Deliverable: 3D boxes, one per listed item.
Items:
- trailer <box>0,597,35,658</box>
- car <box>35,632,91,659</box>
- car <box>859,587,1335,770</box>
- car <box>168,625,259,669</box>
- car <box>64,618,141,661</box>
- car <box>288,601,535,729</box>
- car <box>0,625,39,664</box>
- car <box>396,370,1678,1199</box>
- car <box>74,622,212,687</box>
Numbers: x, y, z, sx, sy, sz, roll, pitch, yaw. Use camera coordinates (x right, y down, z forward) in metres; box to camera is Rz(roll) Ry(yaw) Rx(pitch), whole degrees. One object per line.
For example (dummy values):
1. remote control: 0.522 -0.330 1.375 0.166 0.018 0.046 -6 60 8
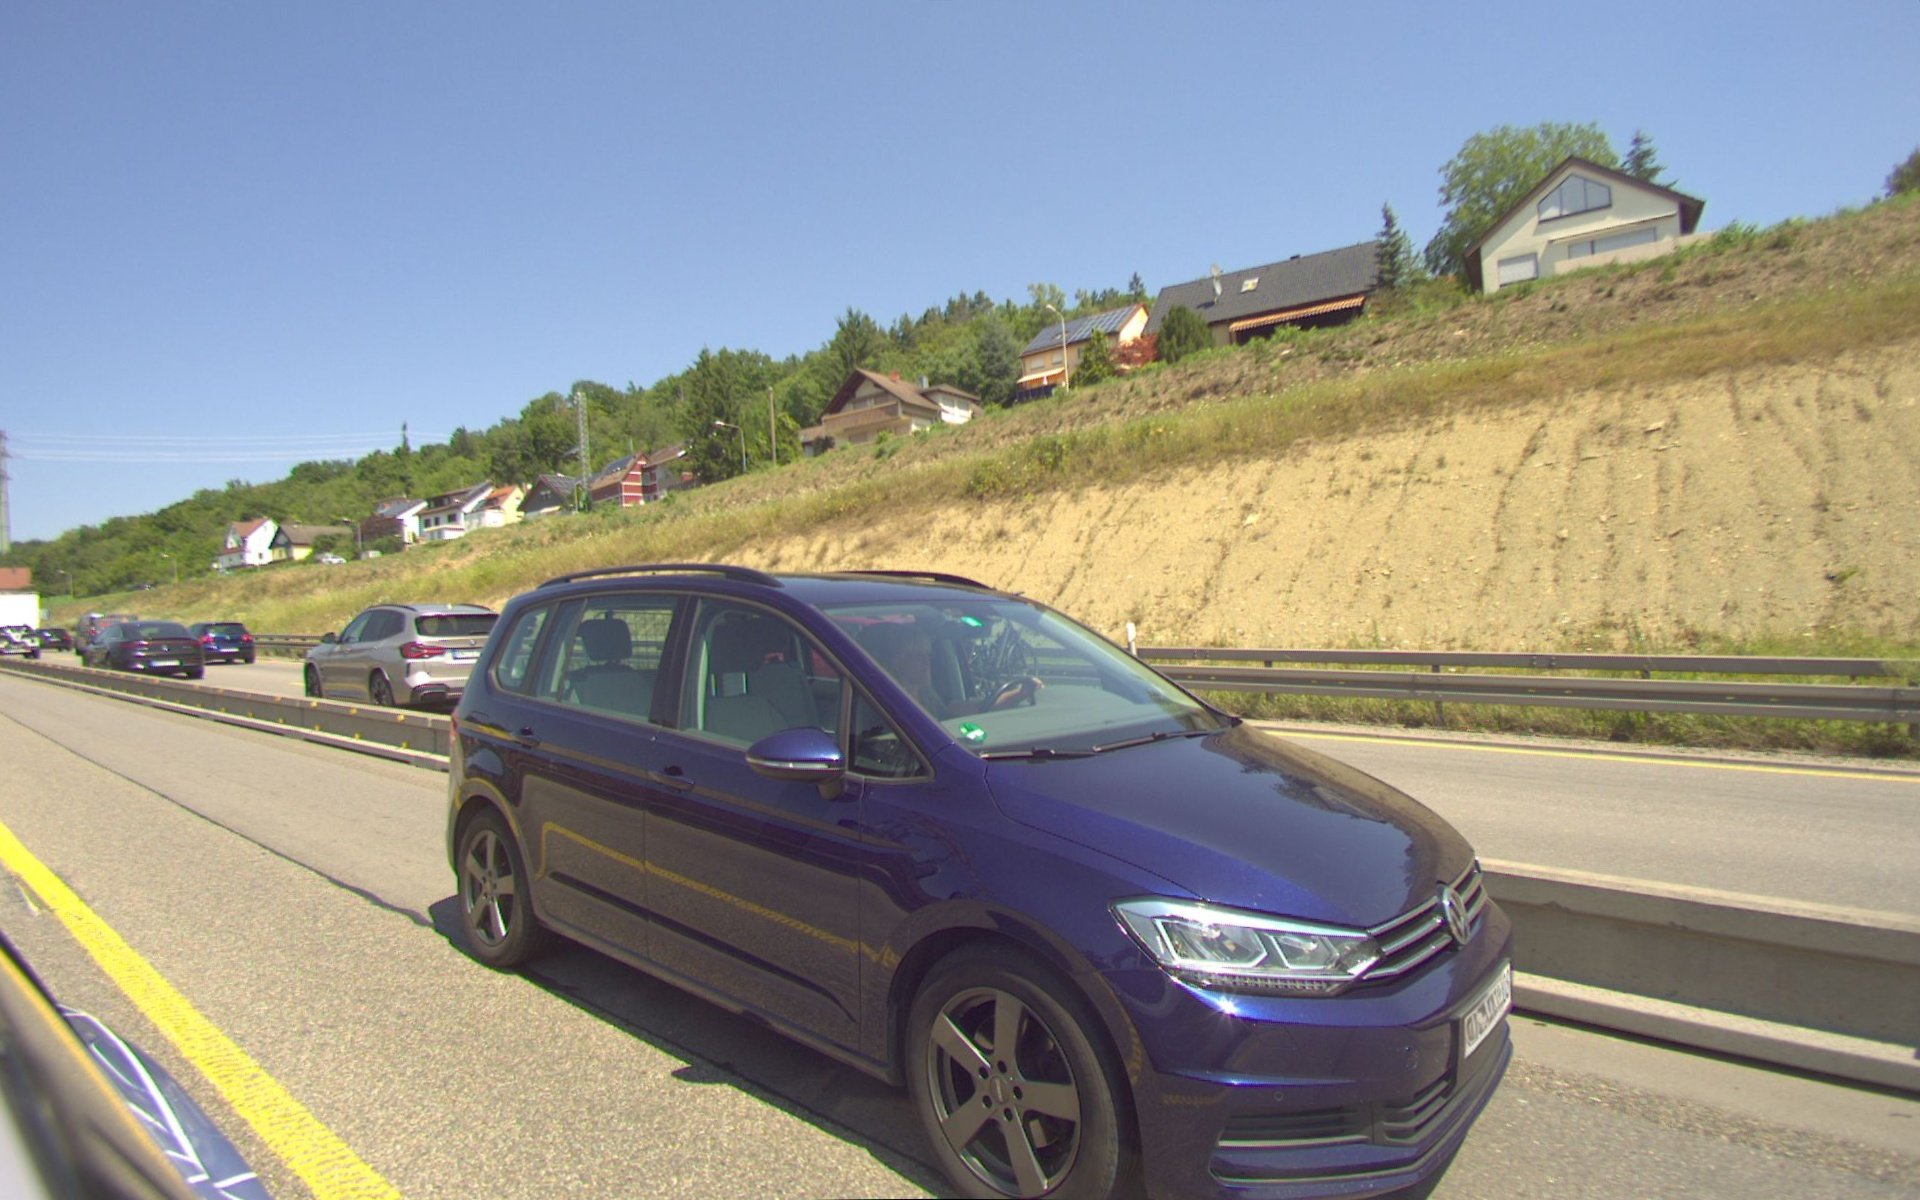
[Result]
1. trailer: -71.465 2.075 74.959 13.969 4.214 2.757 -2 -1 41
2. car: -54.918 2.730 61.912 4.716 1.518 1.973 -1 0 41
3. car: 1.260 0.727 11.157 5.123 1.597 1.667 -2 -1 41
4. car: -26.279 1.615 35.573 4.240 1.429 1.692 -2 -1 41
5. car: -41.462 1.895 48.892 5.118 1.941 2.017 -2 -2 40
6. car: -8.572 0.912 15.625 4.686 1.678 1.826 -2 -1 41
7. car: -43.102 1.978 45.536 5.367 1.667 1.820 -2 -2 41
8. car: -0.275 0.579 3.802 4.650 1.731 1.757 -3 -2 41
9. car: -21.393 1.360 26.415 5.087 1.510 1.935 -2 0 41
